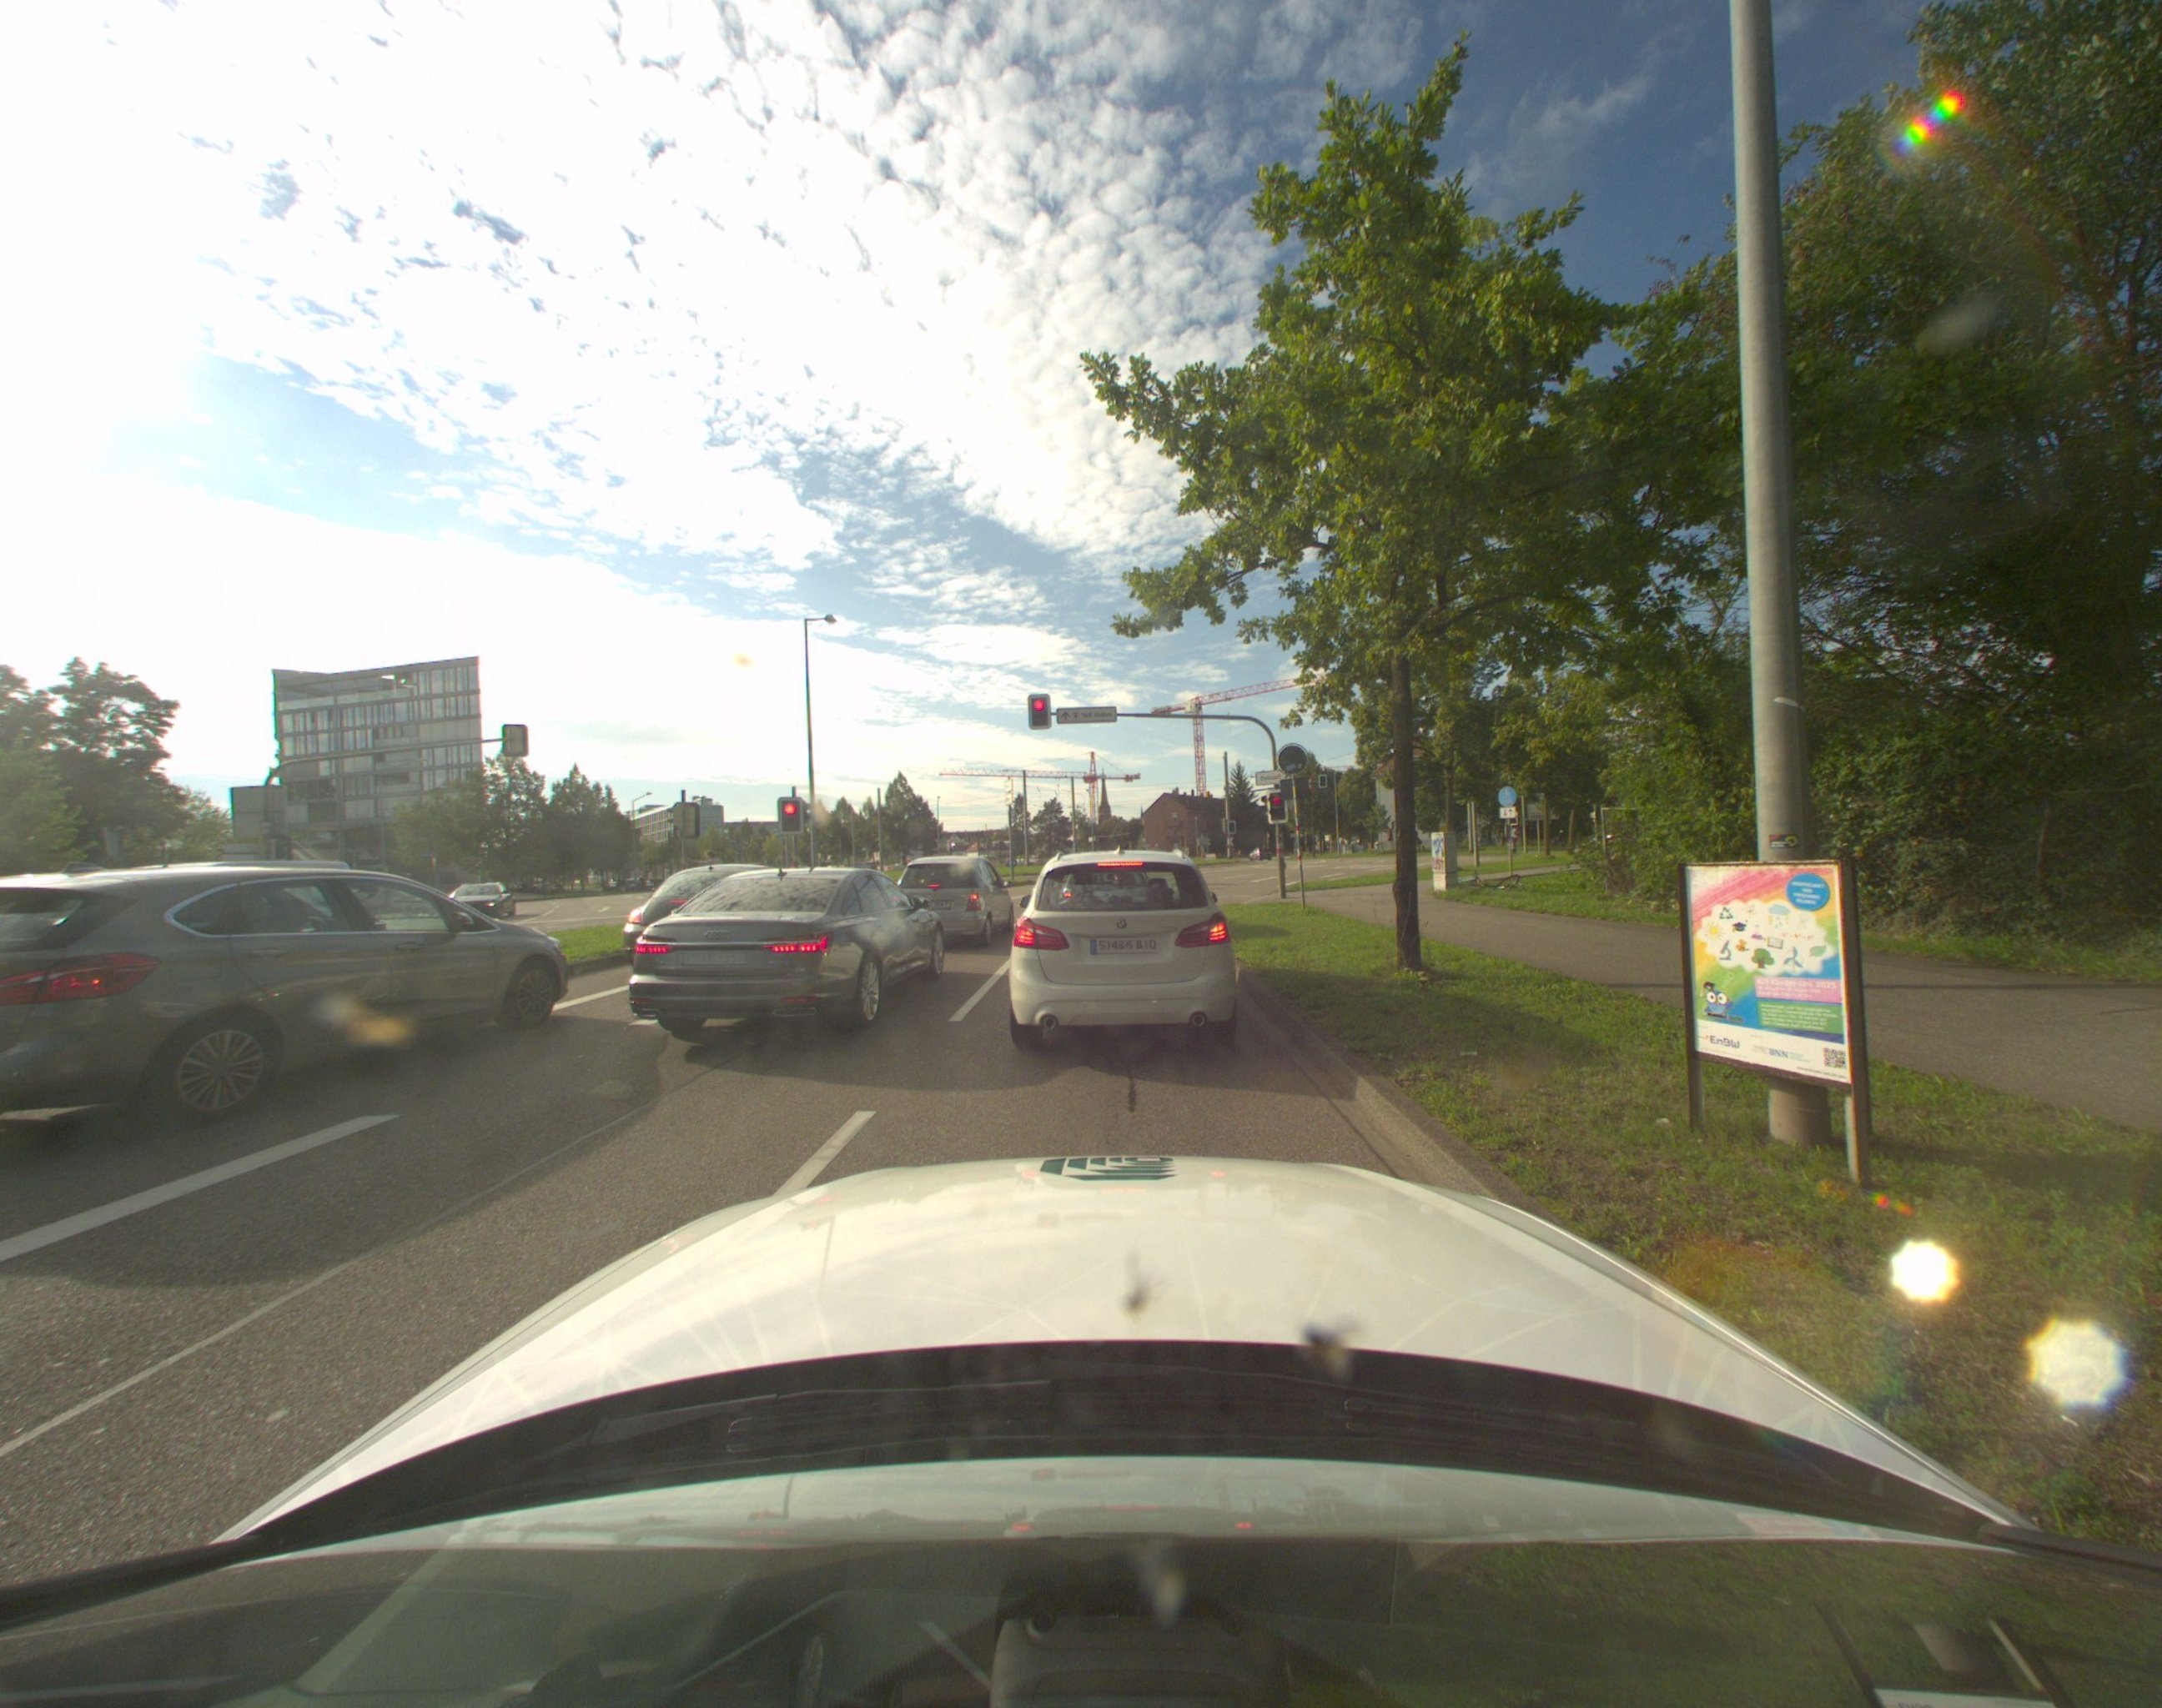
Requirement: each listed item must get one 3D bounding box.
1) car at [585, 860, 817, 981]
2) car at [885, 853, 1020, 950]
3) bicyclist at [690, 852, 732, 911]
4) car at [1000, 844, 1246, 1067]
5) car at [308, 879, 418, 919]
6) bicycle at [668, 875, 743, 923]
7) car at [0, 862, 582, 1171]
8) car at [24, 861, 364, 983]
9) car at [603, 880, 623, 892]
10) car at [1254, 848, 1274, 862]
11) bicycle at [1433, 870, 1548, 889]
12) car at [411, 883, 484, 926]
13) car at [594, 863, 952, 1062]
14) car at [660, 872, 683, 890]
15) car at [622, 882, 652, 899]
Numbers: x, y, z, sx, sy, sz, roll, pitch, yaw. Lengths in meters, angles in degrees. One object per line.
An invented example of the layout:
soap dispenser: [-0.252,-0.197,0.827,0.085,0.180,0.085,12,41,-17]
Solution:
car: [-5.575,0.880,12.525,1.674,1.523,3.811,-1,0,1]
car: [-2.264,0.781,15.368,1.722,1.558,4.060,-1,0,2]
bicyclist: [-10.046,0.744,22.126,0.850,1.526,0.737,-3,-1,-15]
car: [0.355,0.729,7.846,1.723,1.558,4.059,-1,0,2]
car: [-37.520,2.329,42.706,4.013,1.769,1.694,-3,0,-31]
bicycle: [-10.164,1.207,22.087,1.728,1.163,0.652,-2,-1,-15]
car: [-5.982,0.871,6.220,1.722,1.558,4.021,-1,0,2]
car: [-20.046,1.368,18.991,1.993,2.235,5.906,-4,0,-9]
car: [-70.793,4.833,123.072,1.723,1.691,3.951,-2,0,-42]
car: [21.652,0.128,96.492,1.565,1.574,3.196,-3,0,-1]
bicycle: [10.481,0.637,20.986,1.407,0.385,2.568,-3,0,-9]
car: [-24.245,1.883,31.278,1.922,1.434,4.182,-2,-1,-35]
car: [-2.752,0.864,8.608,1.883,1.483,4.614,-1,-1,2]
car: [-37.631,2.460,74.861,1.715,1.574,3.966,-3,0,-25]
car: [-46.386,3.822,85.129,1.790,1.575,3.978,-3,0,-16]
